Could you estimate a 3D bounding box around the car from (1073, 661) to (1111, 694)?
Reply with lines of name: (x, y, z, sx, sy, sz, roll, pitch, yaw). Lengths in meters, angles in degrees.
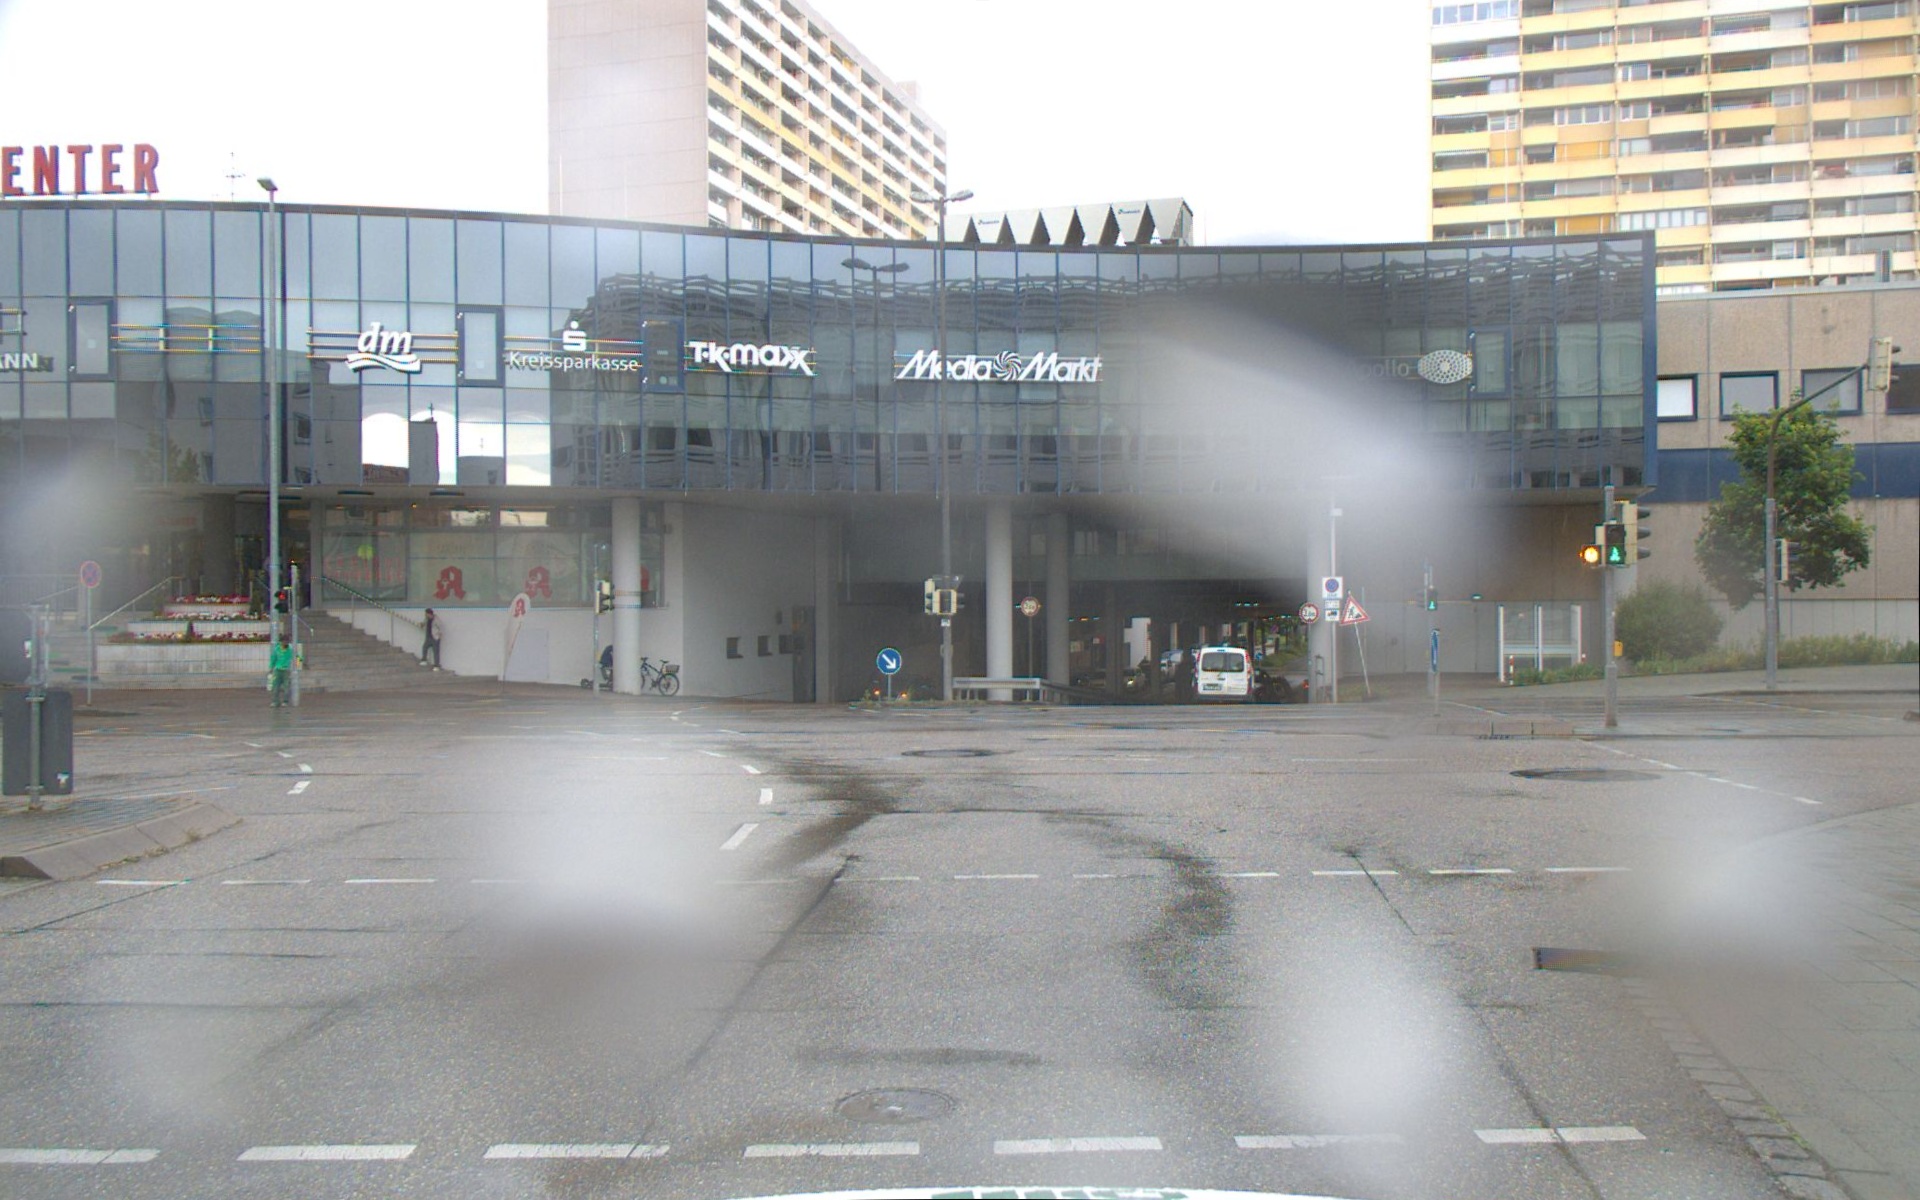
car: (7.683, 4.478, 96.125, 1.797, 1.758, 4.003, -1, -1, 11)

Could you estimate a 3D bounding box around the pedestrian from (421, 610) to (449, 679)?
pedestrian: (-14.866, 1.266, 46.839, 0.643, 1.942, 0.593, 1, -1, -9)

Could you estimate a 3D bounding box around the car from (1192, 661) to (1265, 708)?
car: (9.188, 2.912, 56.340, 1.721, 1.490, 3.943, -2, -4, 20)

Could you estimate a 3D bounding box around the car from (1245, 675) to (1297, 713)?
car: (12.434, 3.769, 66.016, 1.741, 1.425, 4.002, -1, -4, 15)

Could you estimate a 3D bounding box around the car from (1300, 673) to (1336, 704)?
car: (19.739, 4.844, 91.115, 1.847, 1.517, 3.844, 1, -1, 13)

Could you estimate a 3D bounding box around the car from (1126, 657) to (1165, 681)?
car: (12.298, 4.579, 109.623, 1.951, 1.489, 4.003, -1, -1, 15)

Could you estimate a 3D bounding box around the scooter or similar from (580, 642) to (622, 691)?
scooter or similar: (-10.430, 1.935, 48.008, 1.147, 1.397, 0.487, 1, -1, -16)

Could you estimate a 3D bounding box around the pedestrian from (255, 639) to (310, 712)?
pedestrian: (-15.671, 1.743, 38.263, 0.930, 1.652, 0.809, -1, -1, -1)

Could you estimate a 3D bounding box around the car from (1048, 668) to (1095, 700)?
car: (6.186, 4.606, 91.301, 1.874, 1.616, 3.941, -1, -1, 15)

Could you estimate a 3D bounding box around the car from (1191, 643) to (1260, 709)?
car: (7.852, 2.218, 48.702, 1.884, 1.829, 4.299, -1, -2, 10)

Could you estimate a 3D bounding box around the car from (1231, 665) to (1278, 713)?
car: (10.908, 3.309, 61.102, 1.598, 1.640, 4.265, -2, -5, 11)

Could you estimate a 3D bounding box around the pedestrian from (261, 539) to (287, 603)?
pedestrian: (-19.989, -0.836, 48.212, 0.622, 1.839, 0.501, 1, -1, -18)

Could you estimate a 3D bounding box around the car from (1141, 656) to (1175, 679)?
car: (13.747, 4.676, 114.726, 1.951, 1.489, 4.003, -1, -1, 12)

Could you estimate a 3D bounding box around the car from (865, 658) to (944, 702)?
car: (-2.061, 3.056, 62.458, 1.852, 1.496, 4.029, -1, -5, 16)

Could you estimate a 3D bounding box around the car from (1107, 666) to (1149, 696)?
car: (10.348, 4.987, 101.945, 1.951, 1.693, 4.003, 1, -1, 15)

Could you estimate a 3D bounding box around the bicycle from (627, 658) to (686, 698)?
bicycle: (-8.900, 2.283, 48.526, 1.566, 1.036, 0.447, 7, -4, -32)

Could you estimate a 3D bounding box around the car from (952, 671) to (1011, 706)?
car: (0.997, 3.973, 74.370, 1.733, 1.490, 3.878, -1, -3, 15)
